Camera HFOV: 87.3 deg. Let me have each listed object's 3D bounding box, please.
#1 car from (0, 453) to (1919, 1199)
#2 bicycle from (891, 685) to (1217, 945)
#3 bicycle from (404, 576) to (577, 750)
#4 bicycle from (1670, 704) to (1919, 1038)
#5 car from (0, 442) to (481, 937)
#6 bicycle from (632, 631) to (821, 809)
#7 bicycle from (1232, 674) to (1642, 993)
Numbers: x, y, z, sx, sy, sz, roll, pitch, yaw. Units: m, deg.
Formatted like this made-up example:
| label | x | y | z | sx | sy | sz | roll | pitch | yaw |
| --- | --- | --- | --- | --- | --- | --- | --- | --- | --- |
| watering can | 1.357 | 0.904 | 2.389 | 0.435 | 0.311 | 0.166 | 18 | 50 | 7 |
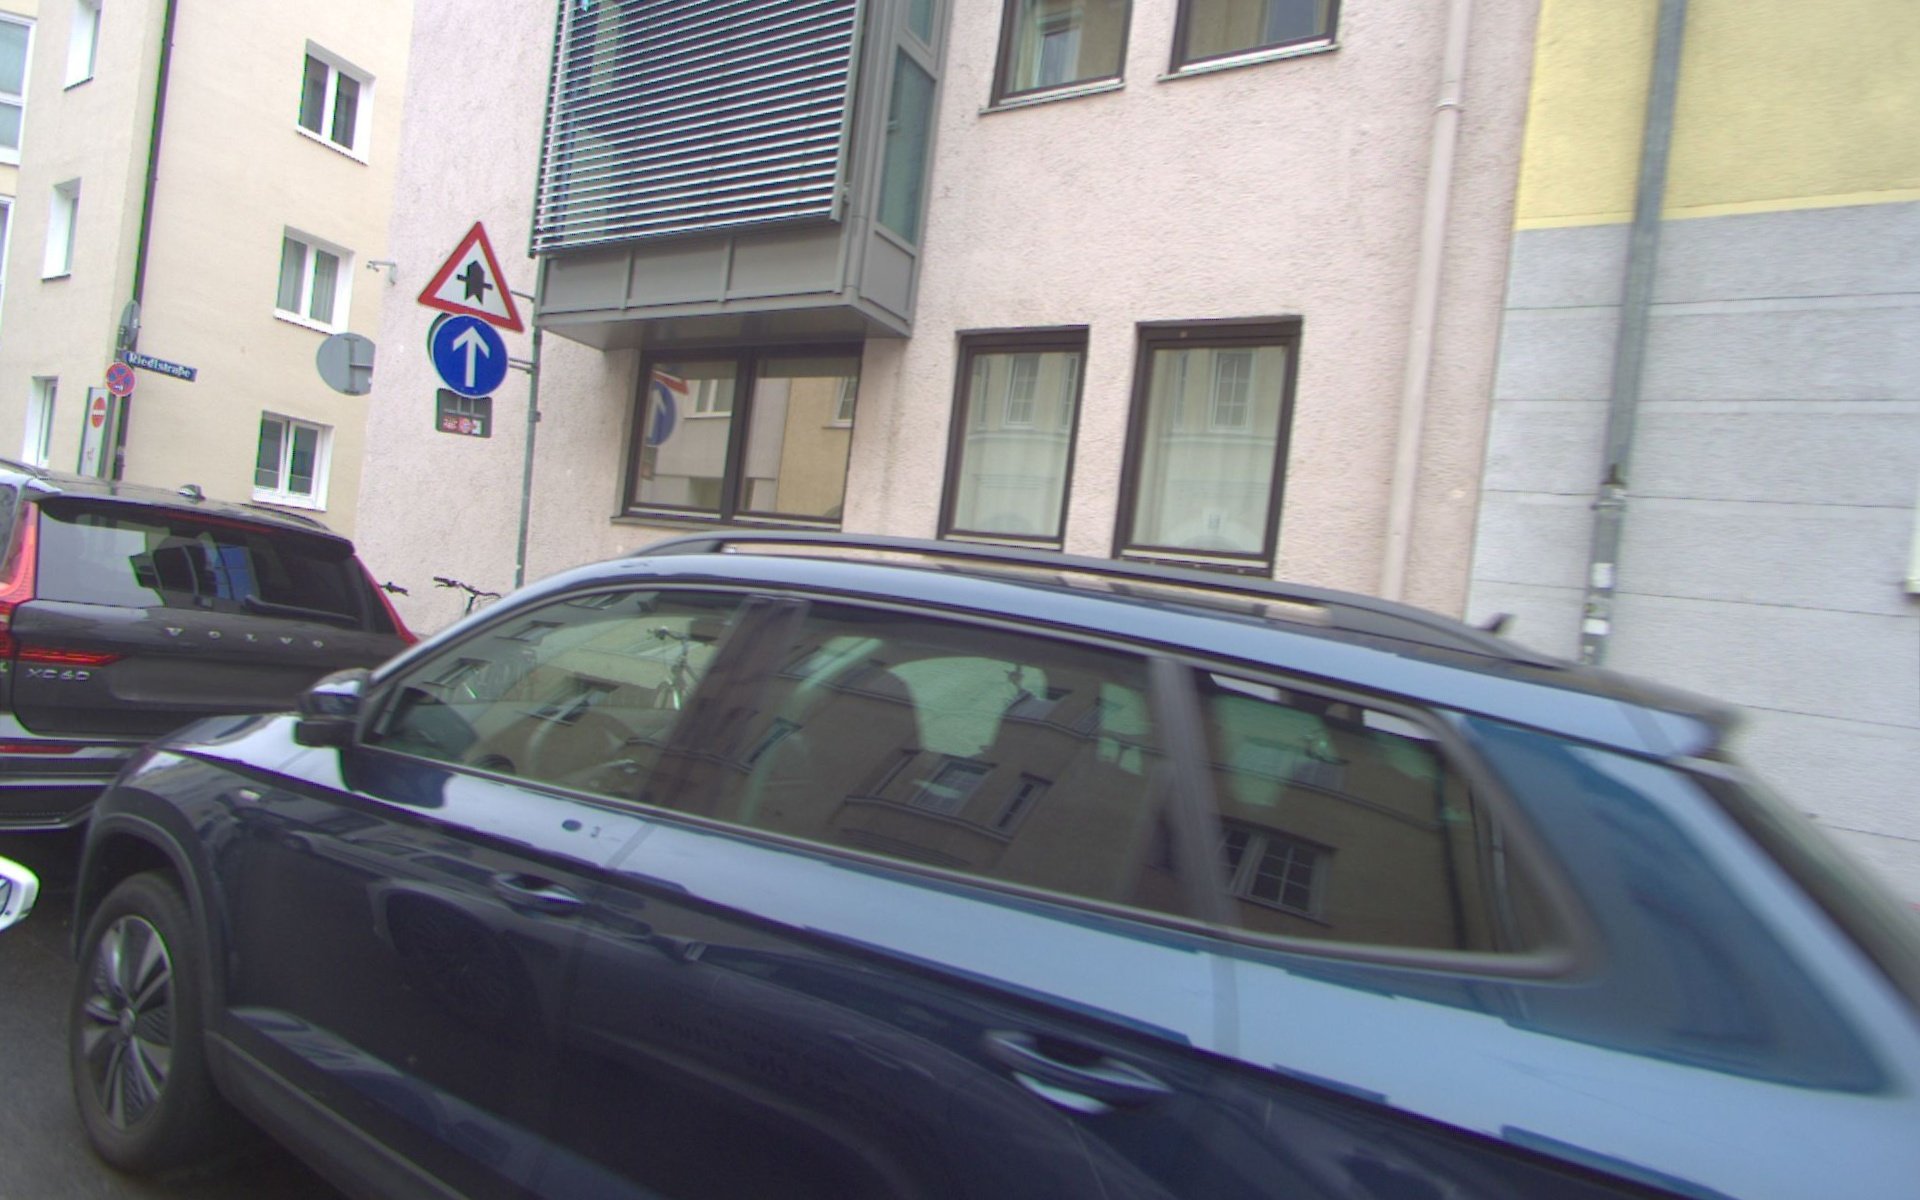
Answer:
| label | x | y | z | sx | sy | sz | roll | pitch | yaw |
| --- | --- | --- | --- | --- | --- | --- | --- | --- | --- |
| car | -0.157 | 0.726 | 2.299 | 4.251 | 1.640 | 1.836 | 7 | -2 | 31 |
| bicycle | 0.445 | 1.035 | 5.198 | 1.550 | 0.959 | 0.441 | 7 | 0 | 33 |
| bicycle | -3.691 | 0.465 | 7.857 | 1.517 | 1.136 | 0.357 | 7 | 1 | 33 |
| bicycle | 3.345 | 0.956 | 3.401 | 1.422 | 0.988 | 0.421 | 7 | 0 | 33 |
| car | -4.658 | 0.175 | 5.058 | 4.337 | 1.640 | 1.836 | 6 | -2 | 31 |
| bicycle | -1.577 | 0.770 | 6.714 | 1.248 | 0.959 | 0.357 | 7 | 0 | 33 |
| bicycle | 1.985 | 0.913 | 4.299 | 1.422 | 0.988 | 0.421 | 7 | 0 | 33 |
